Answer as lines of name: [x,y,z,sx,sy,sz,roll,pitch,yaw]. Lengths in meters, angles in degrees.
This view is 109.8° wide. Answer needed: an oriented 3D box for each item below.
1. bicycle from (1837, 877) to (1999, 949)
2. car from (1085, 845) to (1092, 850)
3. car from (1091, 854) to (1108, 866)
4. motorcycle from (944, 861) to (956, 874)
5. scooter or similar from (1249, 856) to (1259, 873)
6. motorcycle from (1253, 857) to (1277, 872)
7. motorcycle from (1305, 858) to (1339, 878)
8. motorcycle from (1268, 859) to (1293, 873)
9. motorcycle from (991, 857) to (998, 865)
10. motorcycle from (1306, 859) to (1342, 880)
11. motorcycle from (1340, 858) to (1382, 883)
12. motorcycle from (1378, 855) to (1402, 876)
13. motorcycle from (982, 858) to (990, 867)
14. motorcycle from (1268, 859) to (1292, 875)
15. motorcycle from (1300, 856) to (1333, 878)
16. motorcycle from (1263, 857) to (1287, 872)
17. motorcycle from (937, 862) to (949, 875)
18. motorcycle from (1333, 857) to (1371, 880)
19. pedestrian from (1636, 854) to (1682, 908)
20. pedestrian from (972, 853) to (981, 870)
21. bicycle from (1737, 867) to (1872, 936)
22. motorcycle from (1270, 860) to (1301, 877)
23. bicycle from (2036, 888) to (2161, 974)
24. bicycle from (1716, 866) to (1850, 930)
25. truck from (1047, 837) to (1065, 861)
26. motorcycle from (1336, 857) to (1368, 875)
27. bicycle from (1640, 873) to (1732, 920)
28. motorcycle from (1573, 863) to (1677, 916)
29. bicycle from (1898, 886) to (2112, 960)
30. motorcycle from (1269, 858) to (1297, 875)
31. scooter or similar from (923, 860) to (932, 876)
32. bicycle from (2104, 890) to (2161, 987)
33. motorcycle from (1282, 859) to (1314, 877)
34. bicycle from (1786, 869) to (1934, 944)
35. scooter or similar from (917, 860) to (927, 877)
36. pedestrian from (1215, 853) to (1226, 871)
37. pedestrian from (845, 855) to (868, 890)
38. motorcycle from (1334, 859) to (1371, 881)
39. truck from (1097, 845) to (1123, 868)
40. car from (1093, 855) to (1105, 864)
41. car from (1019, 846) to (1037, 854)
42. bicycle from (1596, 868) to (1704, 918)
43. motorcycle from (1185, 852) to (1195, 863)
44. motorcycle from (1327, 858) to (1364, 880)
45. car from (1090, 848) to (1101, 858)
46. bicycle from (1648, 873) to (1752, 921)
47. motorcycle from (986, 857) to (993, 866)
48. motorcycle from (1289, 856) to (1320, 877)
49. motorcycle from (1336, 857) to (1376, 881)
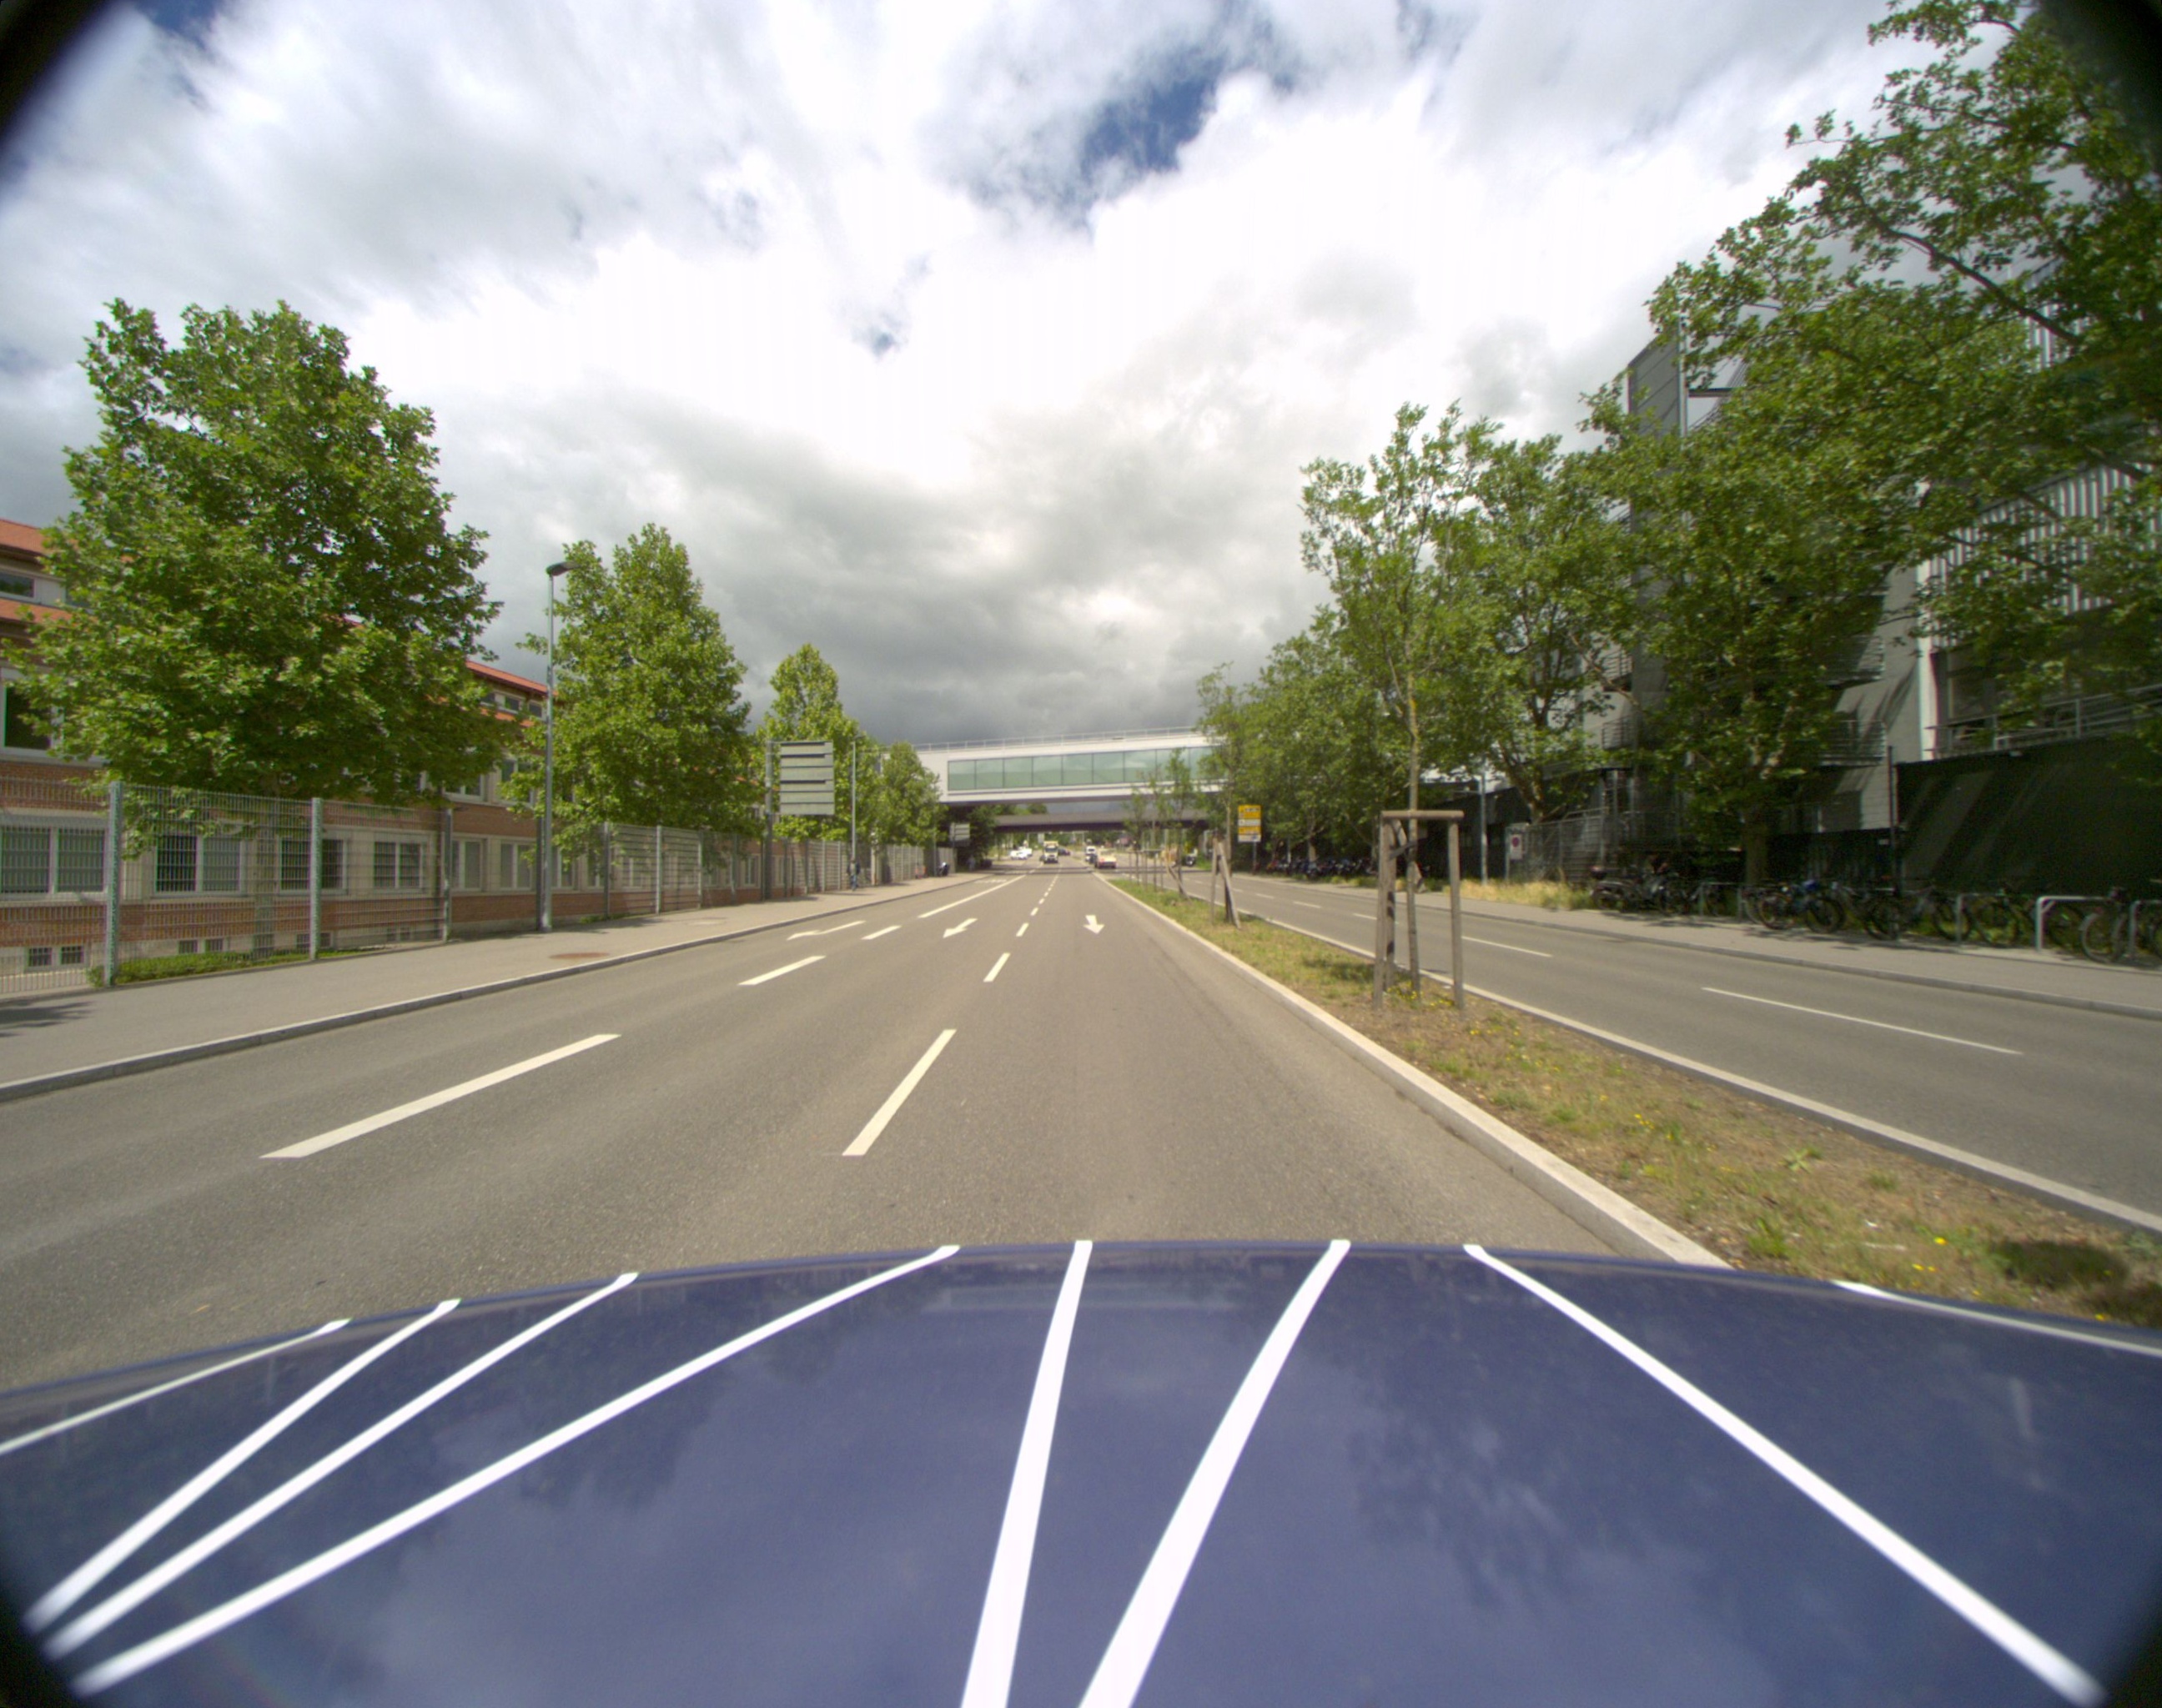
bicycle: [14.294,0.993,13.013,1.923,1.116,0.806,-1,0,-2]
car: [2.000,-1.808,205.040,1.998,1.346,4.000,0,0,1]
car: [2.453,0.780,102.550,1.910,1.621,4.291,-1,0,-4]
motorcycle: [-11.887,1.210,69.033,0.709,1.058,2.510,2,0,-1]
scooter or similar: [13.171,0.765,57.730,0.355,1.229,1.479,-2,1,-1]
motorcycle: [14.908,0.852,61.471,1.745,1.164,0.777,-3,-1,8]
motorcycle: [15.036,0.890,47.428,1.880,1.172,0.816,-3,-1,14]
motorcycle: [14.865,0.896,56.580,1.595,1.027,0.776,-3,-1,1]
motorcycle: [-11.995,0.977,105.465,0.679,1.076,2.180,0,0,-2]
motorcycle: [14.737,0.932,46.103,1.881,1.172,0.815,-3,-1,9]
motorcycle: [14.510,0.867,39.413,1.881,1.166,0.746,-3,-1,9]
motorcycle: [18.481,0.704,45.482,0.654,1.202,1.984,-3,-1,4]
motorcycle: [-12.361,1.068,98.906,0.679,1.148,2.113,0,0,0]
motorcycle: [15.145,0.969,57.953,1.595,1.116,0.776,-3,-1,1]
motorcycle: [15.128,0.846,48.863,1.934,1.336,0.866,-3,-1,20]
motorcycle: [15.127,0.839,59.157,1.596,1.116,0.775,-3,-1,-9]
motorcycle: [-11.941,1.225,65.903,0.670,1.058,2.246,2,0,-1]
motorcycle: [15.514,0.839,43.589,1.882,1.202,0.655,-3,-1,3]
pedestrian: [16.950,0.793,22.304,0.755,1.543,0.821,-1,0,10]
pedestrian: [-11.291,0.784,82.218,0.791,1.877,1.097,0,1,-1]
bicycle: [14.286,0.920,15.029,1.923,1.275,0.806,-1,0,-2]
motorcycle: [14.601,1.020,54.302,1.939,1.109,0.920,1,1,-12]
bicycle: [14.697,1.026,10.166,2.569,1.089,0.696,0,1,10]
bicycle: [14.849,0.916,16.105,2.139,1.275,0.806,-1,0,-2]
truck: [-4.395,-0.873,135.098,2.787,3.981,10.085,-1,0,-1]
motorcycle: [18.719,0.825,52.412,1.933,1.109,0.923,-4,-1,27]
bicycle: [14.686,1.017,18.446,1.929,1.068,0.422,-1,0,-2]
motorcycle: [14.196,0.921,19.856,2.139,1.301,0.806,-1,0,-2]
bicycle: [14.719,1.066,12.125,2.844,1.000,0.850,-1,0,-9]
motorcycle: [14.738,0.923,55.447,1.752,1.172,0.852,-3,-1,-12]
scooter or similar: [-12.332,1.107,61.121,0.492,1.287,1.336,0,0,-1]
bicycle: [14.514,1.018,9.340,2.569,1.151,0.644,-2,0,10]
motorcycle: [15.077,0.971,52.716,1.933,1.109,0.923,-4,-1,27]
bicycle: [14.323,0.948,14.002,1.923,1.275,0.806,-1,1,-2]
scooter or similar: [-12.302,1.091,58.703,0.492,1.287,1.336,0,0,-1]
pedestrian: [12.987,0.743,70.577,0.769,1.603,0.813,-3,1,-1]
pedestrian: [-11.481,0.939,38.821,0.879,1.733,0.940,1,1,-1]
motorcycle: [15.177,0.893,42.500,1.880,1.078,0.795,-3,-1,15]
truck: [3.484,0.316,92.036,2.486,2.735,6.456,-1,0,-3]
car: [2.868,0.844,123.126,1.713,1.445,4.479,-1,0,0]
car: [-13.568,-0.991,193.229,4.250,1.796,1.829,-2,1,5]
bicycle: [14.337,0.975,19.189,2.139,1.173,0.806,-1,0,-2]
motorcycle: [12.663,0.424,88.369,0.641,1.191,2.257,-3,1,-1]
motorcycle: [15.546,0.871,44.647,1.882,1.172,0.698,-3,-1,3]
car: [2.704,-0.159,142.340,1.813,1.770,4.977,-1,0,-1]
bicycle: [14.634,1.019,17.976,2.086,1.056,0.497,-1,0,-2]
motorcycle: [-12.172,0.993,101.357,0.679,1.136,2.160,0,0,-2]
motorcycle: [15.072,0.854,51.236,1.934,1.283,0.894,-3,-1,20]
motorcycle: [15.025,0.829,41.494,1.881,1.179,0.730,-3,0,8]
